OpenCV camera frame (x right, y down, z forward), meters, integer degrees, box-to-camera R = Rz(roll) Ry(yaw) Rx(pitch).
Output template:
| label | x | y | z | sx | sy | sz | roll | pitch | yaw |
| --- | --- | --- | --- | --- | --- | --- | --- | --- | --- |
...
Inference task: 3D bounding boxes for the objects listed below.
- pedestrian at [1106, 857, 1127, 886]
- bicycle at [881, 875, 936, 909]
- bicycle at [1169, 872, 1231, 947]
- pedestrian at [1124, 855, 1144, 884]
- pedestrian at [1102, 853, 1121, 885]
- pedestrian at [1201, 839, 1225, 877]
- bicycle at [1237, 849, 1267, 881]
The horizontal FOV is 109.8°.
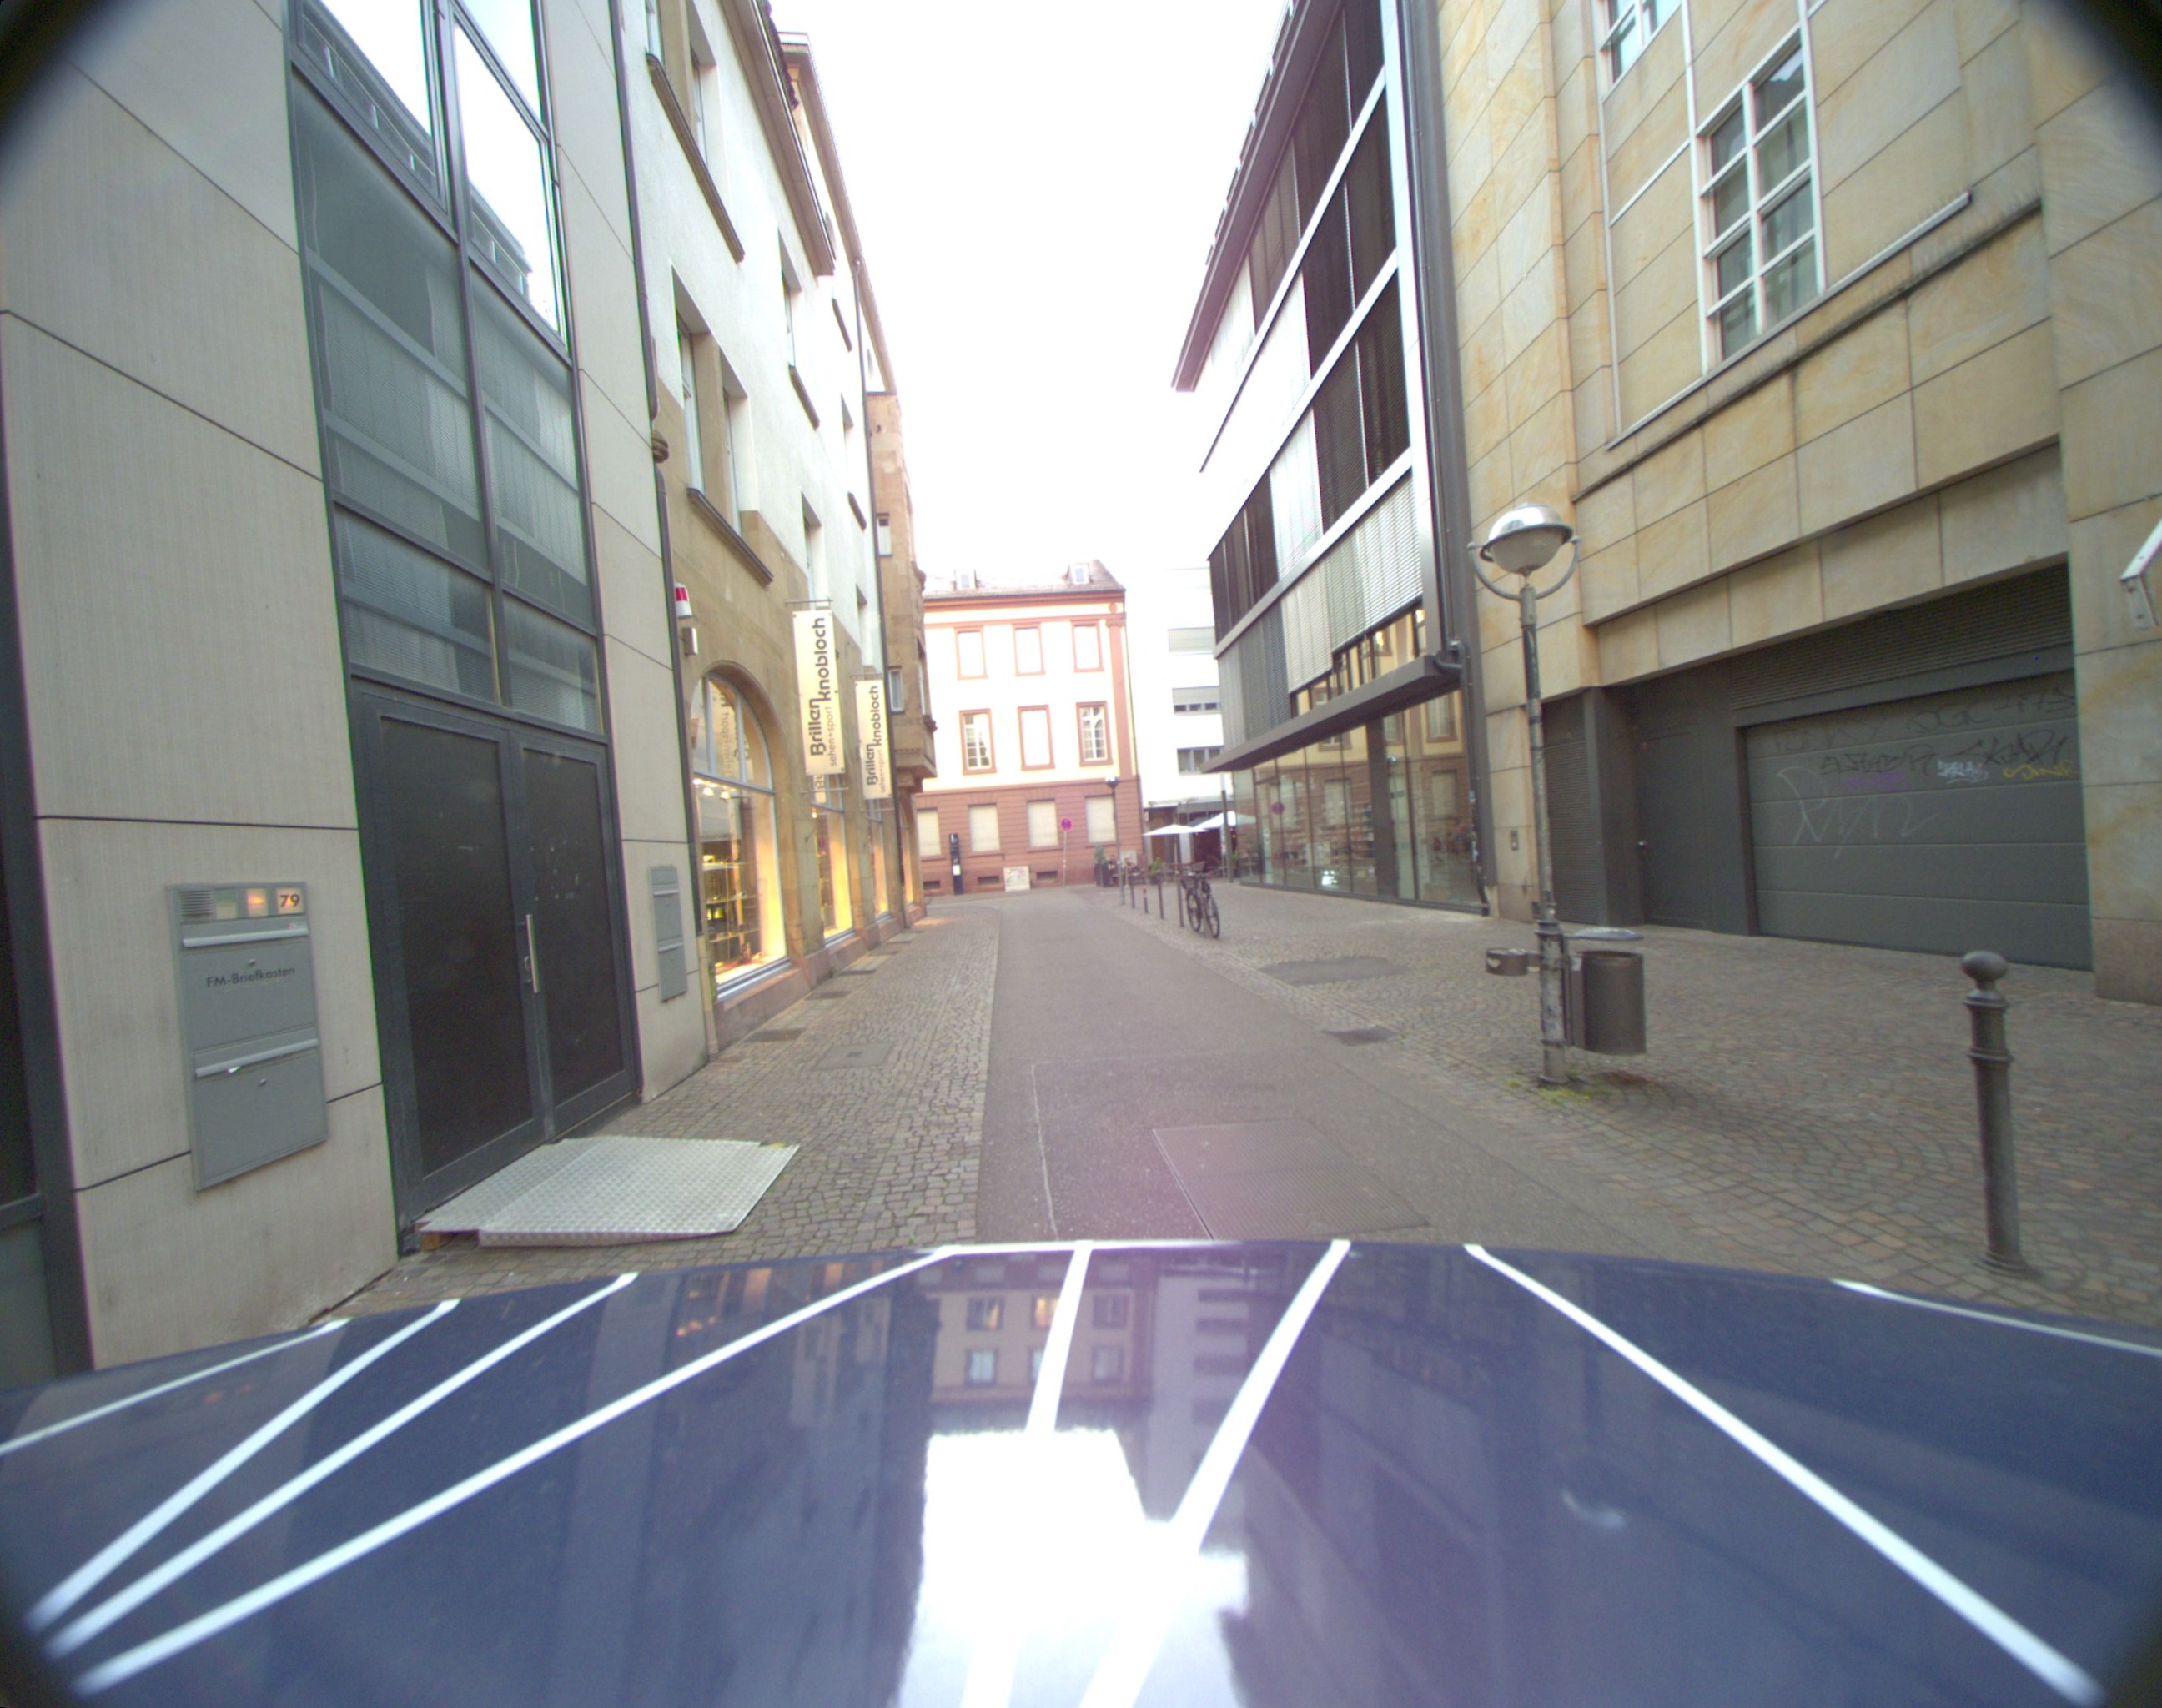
| label | x | y | z | sx | sy | sz | roll | pitch | yaw |
| --- | --- | --- | --- | --- | --- | --- | --- | --- | --- |
| pedestrian | 1.520 | 0.738 | 32.531 | 0.674 | 1.177 | 0.792 | -5 | 2 | -10 |
| bicycle | -6.902 | 1.515 | 30.521 | 1.980 | 1.143 | 0.578 | -5 | 1 | -4 |
| bicycle | 2.027 | 0.916 | 13.182 | 0.411 | 1.126 | 1.929 | -5 | 1 | -9 |
| pedestrian | 2.351 | 0.684 | 33.666 | 0.673 | 1.177 | 0.792 | -4 | 2 | -7 |
| pedestrian | 1.364 | 0.661 | 34.060 | 0.673 | 1.324 | 0.792 | -4 | 2 | -7 |
| pedestrian | 5.923 | 0.178 | 34.135 | 0.725 | 1.639 | 0.792 | -5 | 1 | -10 |
| bicycle | 6.283 | 0.417 | 28.004 | 0.467 | 1.129 | 1.702 | -5 | -1 | -5 |
